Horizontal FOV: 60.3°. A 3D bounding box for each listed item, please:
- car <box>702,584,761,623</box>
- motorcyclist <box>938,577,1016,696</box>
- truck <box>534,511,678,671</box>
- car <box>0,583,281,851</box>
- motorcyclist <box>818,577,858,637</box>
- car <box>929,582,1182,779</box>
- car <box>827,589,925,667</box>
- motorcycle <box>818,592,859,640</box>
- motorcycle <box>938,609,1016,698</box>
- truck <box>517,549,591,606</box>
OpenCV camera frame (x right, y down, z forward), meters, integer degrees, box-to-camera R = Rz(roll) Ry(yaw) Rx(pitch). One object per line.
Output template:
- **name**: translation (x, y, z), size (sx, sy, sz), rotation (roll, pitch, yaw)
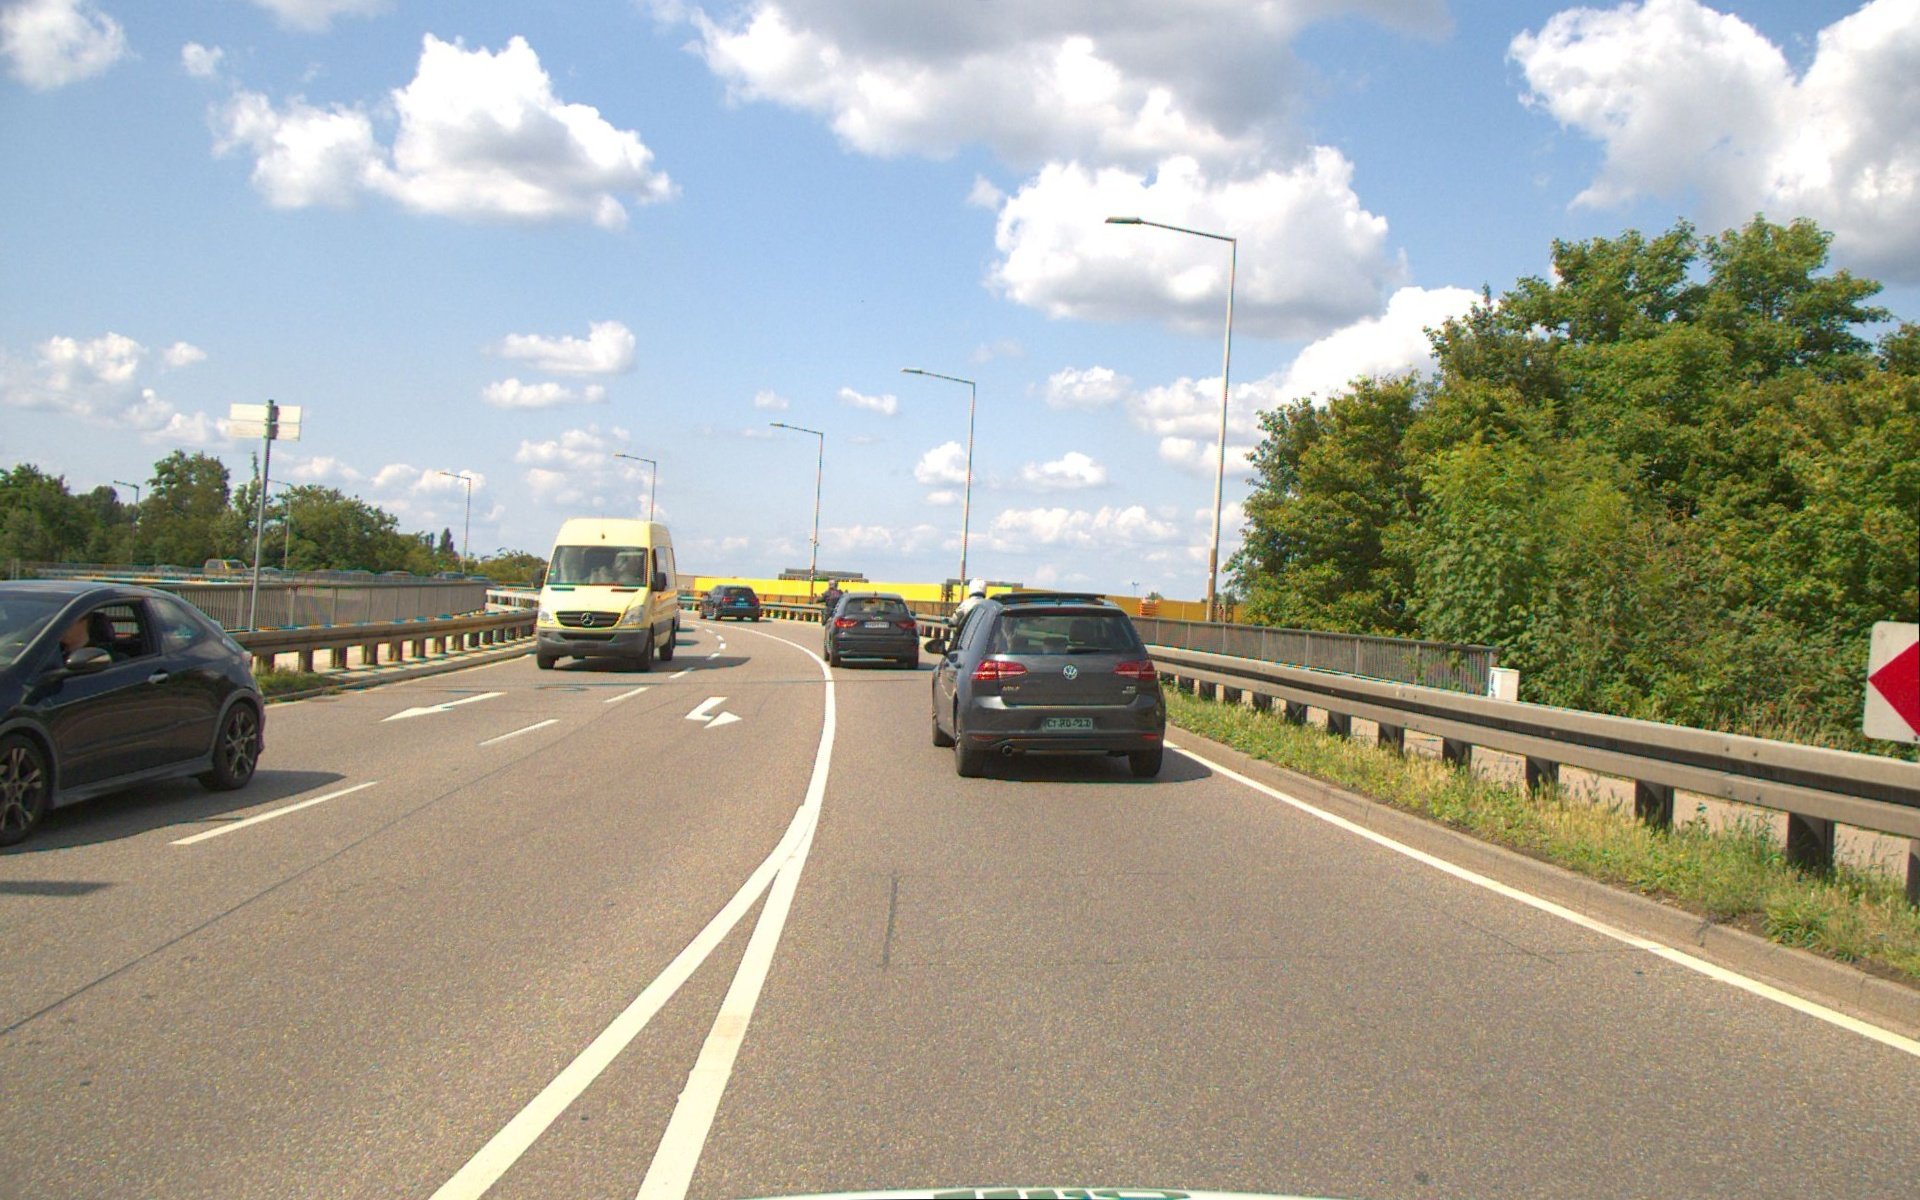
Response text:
- **car**: translation (-9.456, 0.131, 68.275), size (1.618, 1.504, 3.850), rotation (2, 0, -19)
- **motorcyclist**: translation (0.239, 0.516, 23.944), size (0.947, 1.648, 1.123), rotation (2, 0, -7)
- **truck**: translation (-6.426, -0.190, 30.685), size (1.955, 2.666, 6.096), rotation (0, 1, -6)
- **car**: translation (-5.969, 0.608, 10.311), size (1.761, 1.413, 4.007), rotation (1, 0, 1)
- **motorcyclist**: translation (-3.416, 0.192, 46.231), size (0.948, 1.624, 1.122), rotation (2, 0, -10)
- **car**: translation (0.717, 0.635, 14.856), size (1.611, 1.504, 3.867), rotation (2, 0, -6)
- **car**: translation (-1.697, 0.532, 32.302), size (1.650, 1.412, 3.733), rotation (1, -1, -7)
- **motorcycle**: translation (-3.407, 0.437, 46.133), size (0.871, 1.269, 2.394), rotation (2, 0, -9)
- **motorcycle**: translation (0.219, 0.742, 23.838), size (0.774, 1.151, 2.396), rotation (2, 0, -7)
- **truck**: translation (-18.922, -1.055, 76.897), size (1.970, 2.551, 5.894), rotation (1, 1, -28)
